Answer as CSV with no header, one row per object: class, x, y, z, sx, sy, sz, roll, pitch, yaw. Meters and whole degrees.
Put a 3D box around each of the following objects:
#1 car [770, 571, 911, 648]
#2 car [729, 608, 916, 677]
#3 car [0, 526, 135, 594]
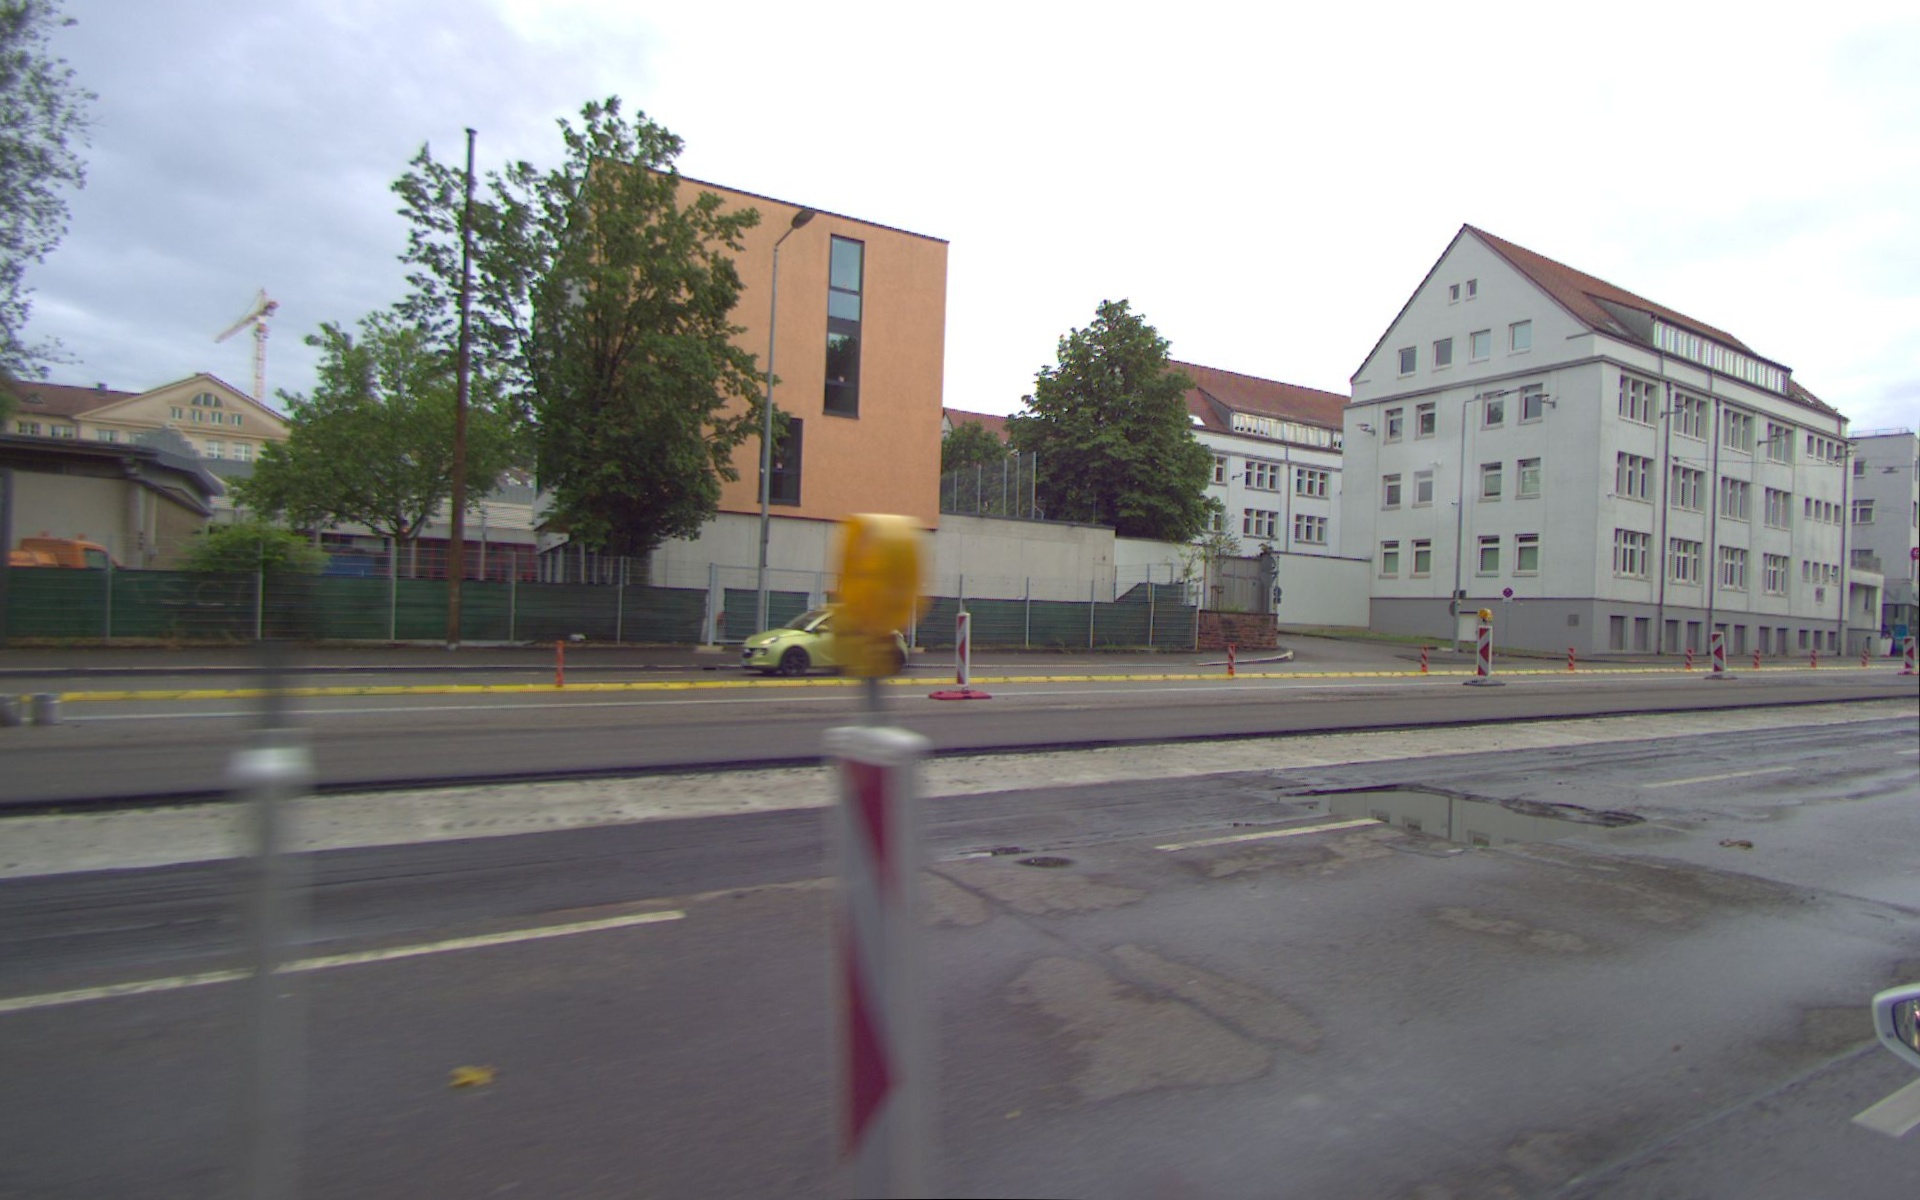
car,-3.626,0.320,30.753,3.955,2.199,1.602,2,-1,-31
car,-2.975,0.932,21.936,3.761,1.386,1.546,2,-2,-31
car,-23.546,-0.985,25.256,1.959,1.548,4.026,1,-1,8
